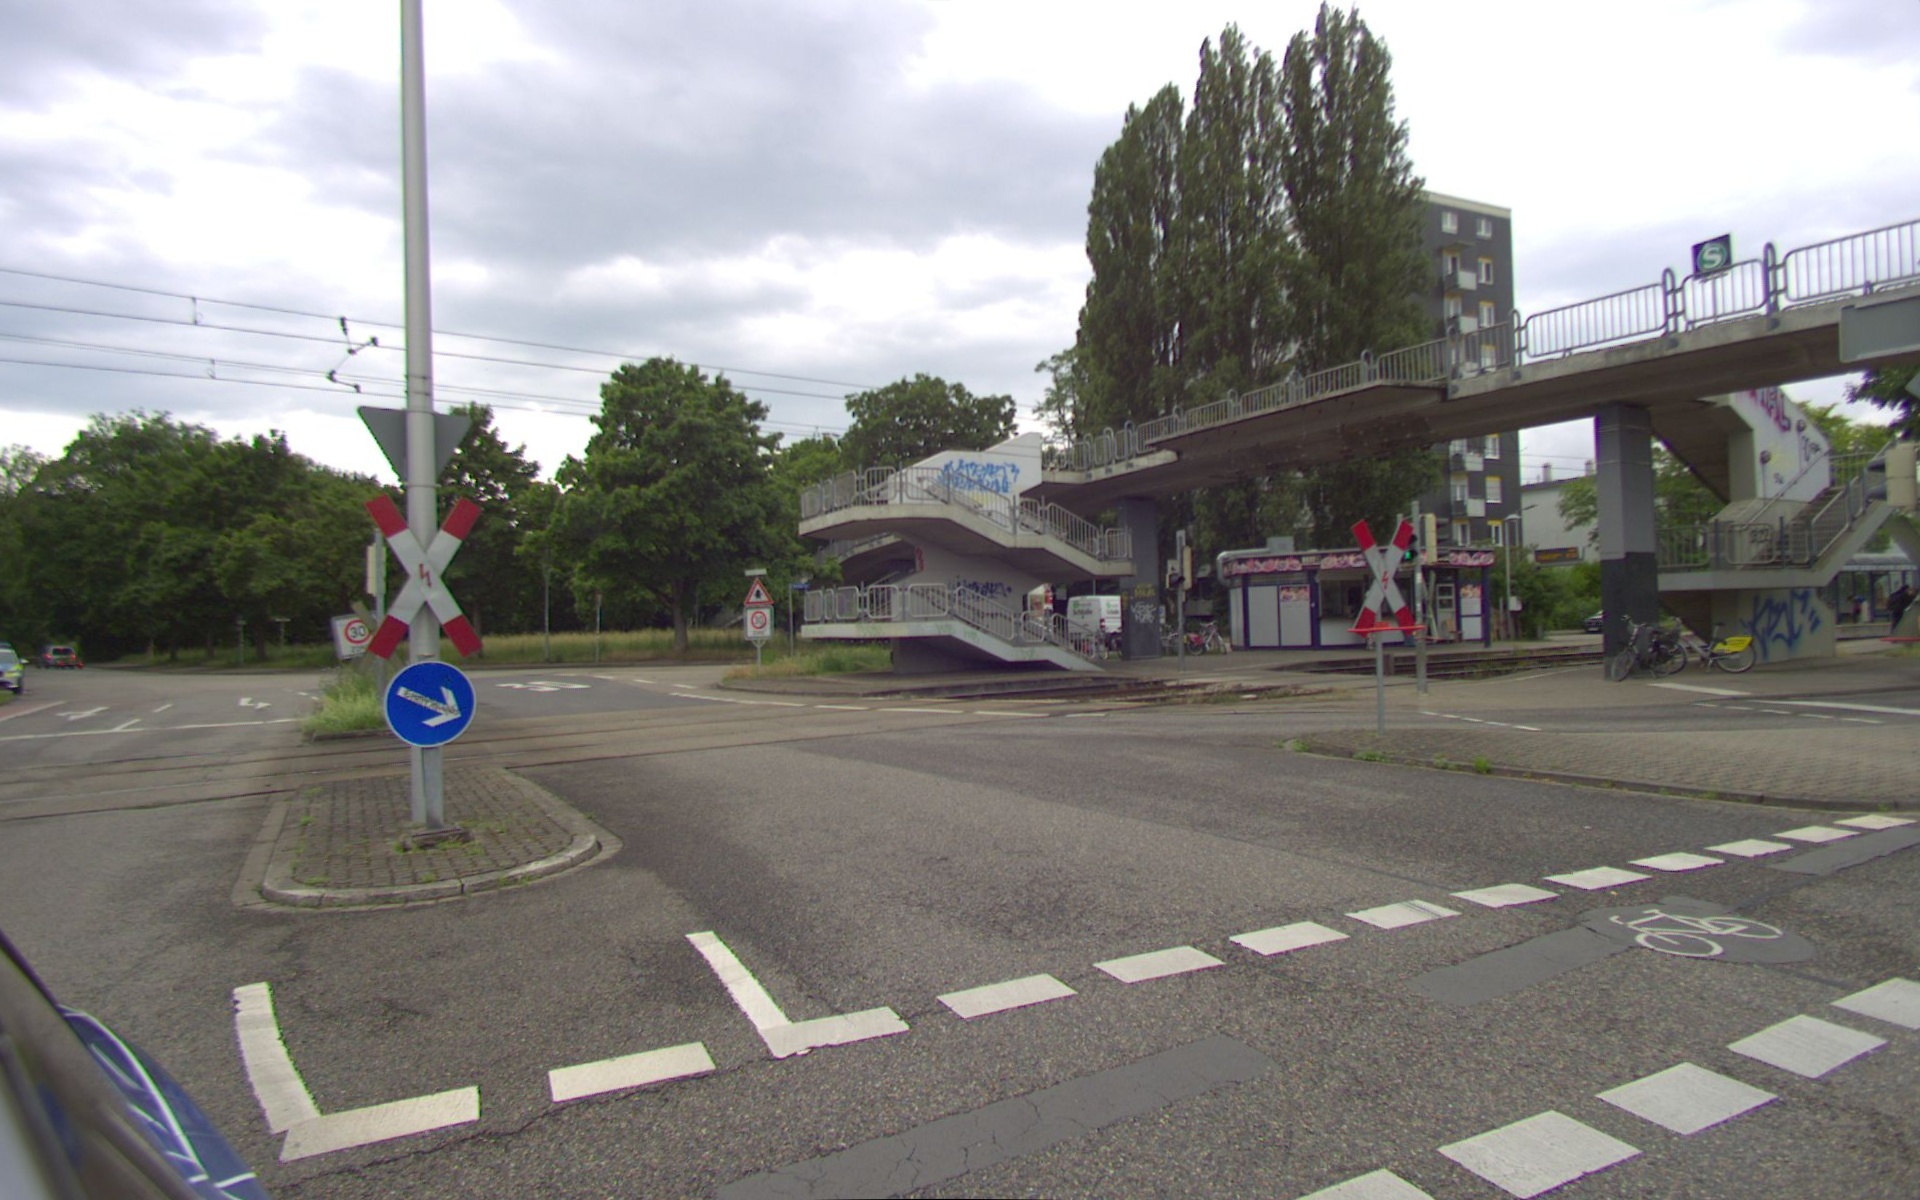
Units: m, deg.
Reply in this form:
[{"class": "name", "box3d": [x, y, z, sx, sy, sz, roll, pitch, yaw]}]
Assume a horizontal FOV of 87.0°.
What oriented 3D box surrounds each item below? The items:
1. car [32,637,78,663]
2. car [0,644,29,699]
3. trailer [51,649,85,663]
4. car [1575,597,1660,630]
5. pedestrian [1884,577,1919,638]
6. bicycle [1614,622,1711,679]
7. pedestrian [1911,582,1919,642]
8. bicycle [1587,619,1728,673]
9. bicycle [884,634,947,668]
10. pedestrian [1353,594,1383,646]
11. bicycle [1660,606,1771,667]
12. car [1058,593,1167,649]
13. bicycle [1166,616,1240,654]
[{"class": "car", "box3d": [-70.956, 3.905, 79.347, 4.217, 1.871, 2.067, -2, -1, 39]}, {"class": "car", "box3d": [-33.937, 2.472, 35.280, 4.001, 1.864, 1.909, -3, -4, 44]}, {"class": "trailer", "box3d": [-67.899, 4.263, 77.037, 3.464, 0.993, 1.550, -3, -1, 42]}, {"class": "car", "box3d": [33.890, 0.685, 52.173, 3.931, 1.572, 1.674, -1, -1, -23]}, {"class": "pedestrian", "box3d": [25.851, 0.207, 27.676, 0.652, 1.655, 0.603, -1, -1, -29]}, {"class": "bicycle", "box3d": [12.833, 0.904, 18.475, 2.002, 0.928, 0.375, -2, -1, -22]}, {"class": "pedestrian", "box3d": [25.381, 0.304, 26.504, 0.329, 1.576, 0.562, -1, -2, -33]}, {"class": "bicycle", "box3d": [12.755, 0.821, 18.514, 2.368, 0.895, 0.559, -1, -1, -9]}, {"class": "bicycle", "box3d": [-1.256, 1.437, 28.521, 1.715, 0.892, 0.395, -1, -1, -9]}, {"class": "pedestrian", "box3d": [13.328, 0.663, 33.074, 0.674, 1.677, 0.544, -1, -2, -27]}, {"class": "bicycle", "box3d": [14.254, 0.697, 19.132, 1.609, 1.103, 0.347, -2, -1, 31]}, {"class": "car", "box3d": [6.727, 0.931, 44.319, 2.141, 2.310, 5.133, -2, -2, 44]}, {"class": "bicycle", "box3d": [7.848, 1.107, 32.650, 2.748, 1.123, 0.993, -1, -2, -45]}]
